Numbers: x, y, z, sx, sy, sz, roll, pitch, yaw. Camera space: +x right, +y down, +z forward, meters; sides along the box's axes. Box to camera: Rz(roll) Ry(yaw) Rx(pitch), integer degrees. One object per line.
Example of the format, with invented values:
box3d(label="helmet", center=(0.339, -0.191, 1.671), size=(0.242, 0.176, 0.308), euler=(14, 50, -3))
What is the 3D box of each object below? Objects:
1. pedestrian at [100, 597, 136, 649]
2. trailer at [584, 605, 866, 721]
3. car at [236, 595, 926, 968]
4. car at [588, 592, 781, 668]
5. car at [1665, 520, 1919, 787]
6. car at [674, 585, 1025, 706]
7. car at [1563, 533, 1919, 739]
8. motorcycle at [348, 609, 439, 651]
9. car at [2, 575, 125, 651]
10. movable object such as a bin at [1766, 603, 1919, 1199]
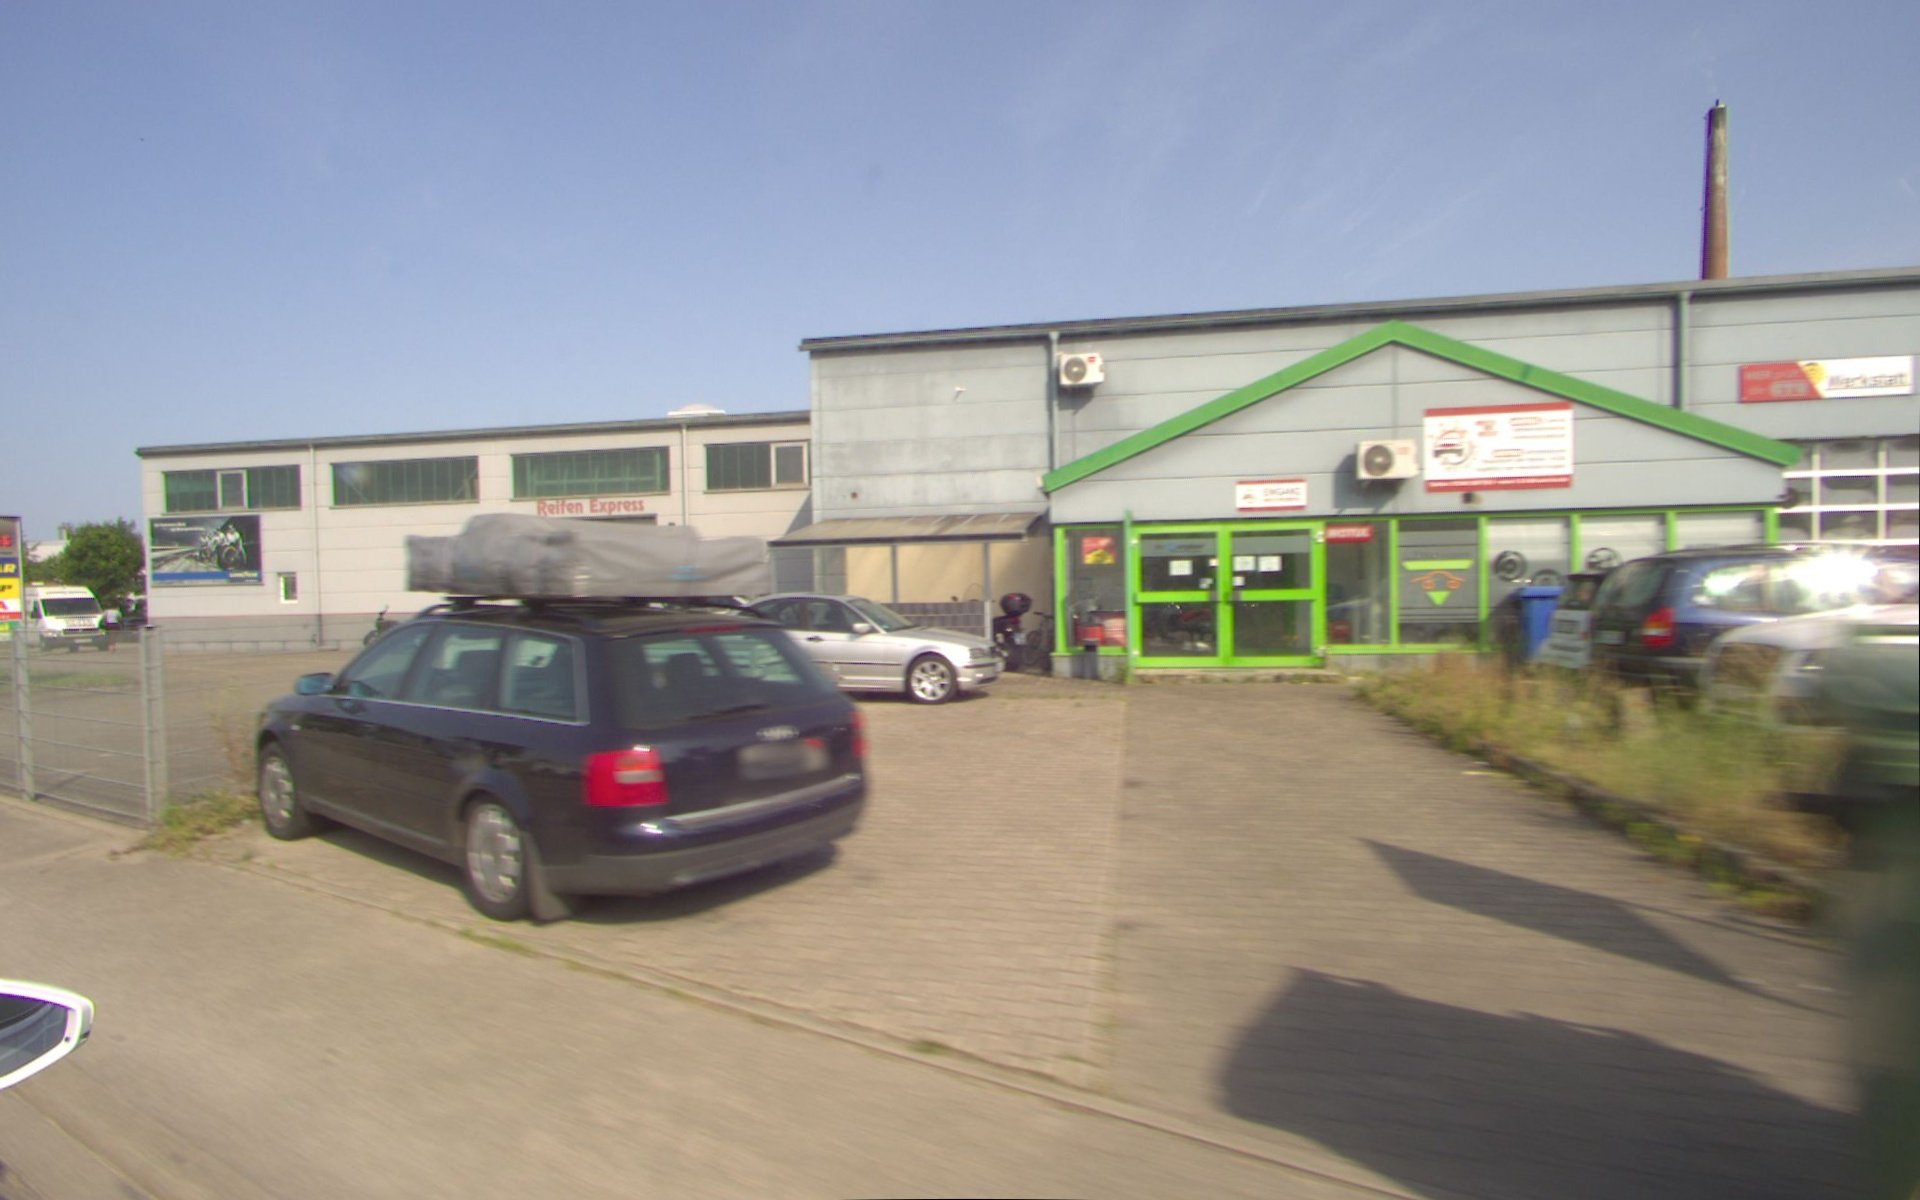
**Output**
box3d(label="pedestrian", center=(-27.371, 0.736, 32.571), size=(0.694, 1.662, 0.746), euler=(-1, 1, -26))
box3d(label="trailer", center=(-2.703, 0.710, 11.846), size=(2.919, 1.264, 1.495), euler=(0, -1, 7))
box3d(label="car", center=(-2.394, 0.699, 5.737), size=(4.338, 1.387, 1.667), euler=(-1, 1, 38))
box3d(label="car", center=(-6.038, 0.644, 22.097), size=(3.734, 1.589, 1.638), euler=(-1, 1, 11))
box3d(label="car", center=(7.338, 0.297, 6.597), size=(4.054, 1.593, 1.720), euler=(-1, 1, 9))
box3d(label="car", center=(-1.387, 0.584, 13.399), size=(4.375, 1.485, 1.644), euler=(-1, 1, 9))
box3d(label="car", center=(7.694, 0.311, 9.340), size=(3.152, 1.743, 1.643), euler=(-1, 1, 9))
box3d(label="motorcycle", center=(-15.904, 0.840, 28.140), size=(2.160, 1.109, 0.803), euler=(-1, 1, 9))
box3d(label="car", center=(-34.463, 0.480, 38.437), size=(5.797, 2.742, 1.969), euler=(-1, 1, 33))
box3d(label="movable object such as a bin", center=(2.243, 0.716, 1.537), size=(1.485, 1.372, 1.077), euler=(0, 3, 35))
